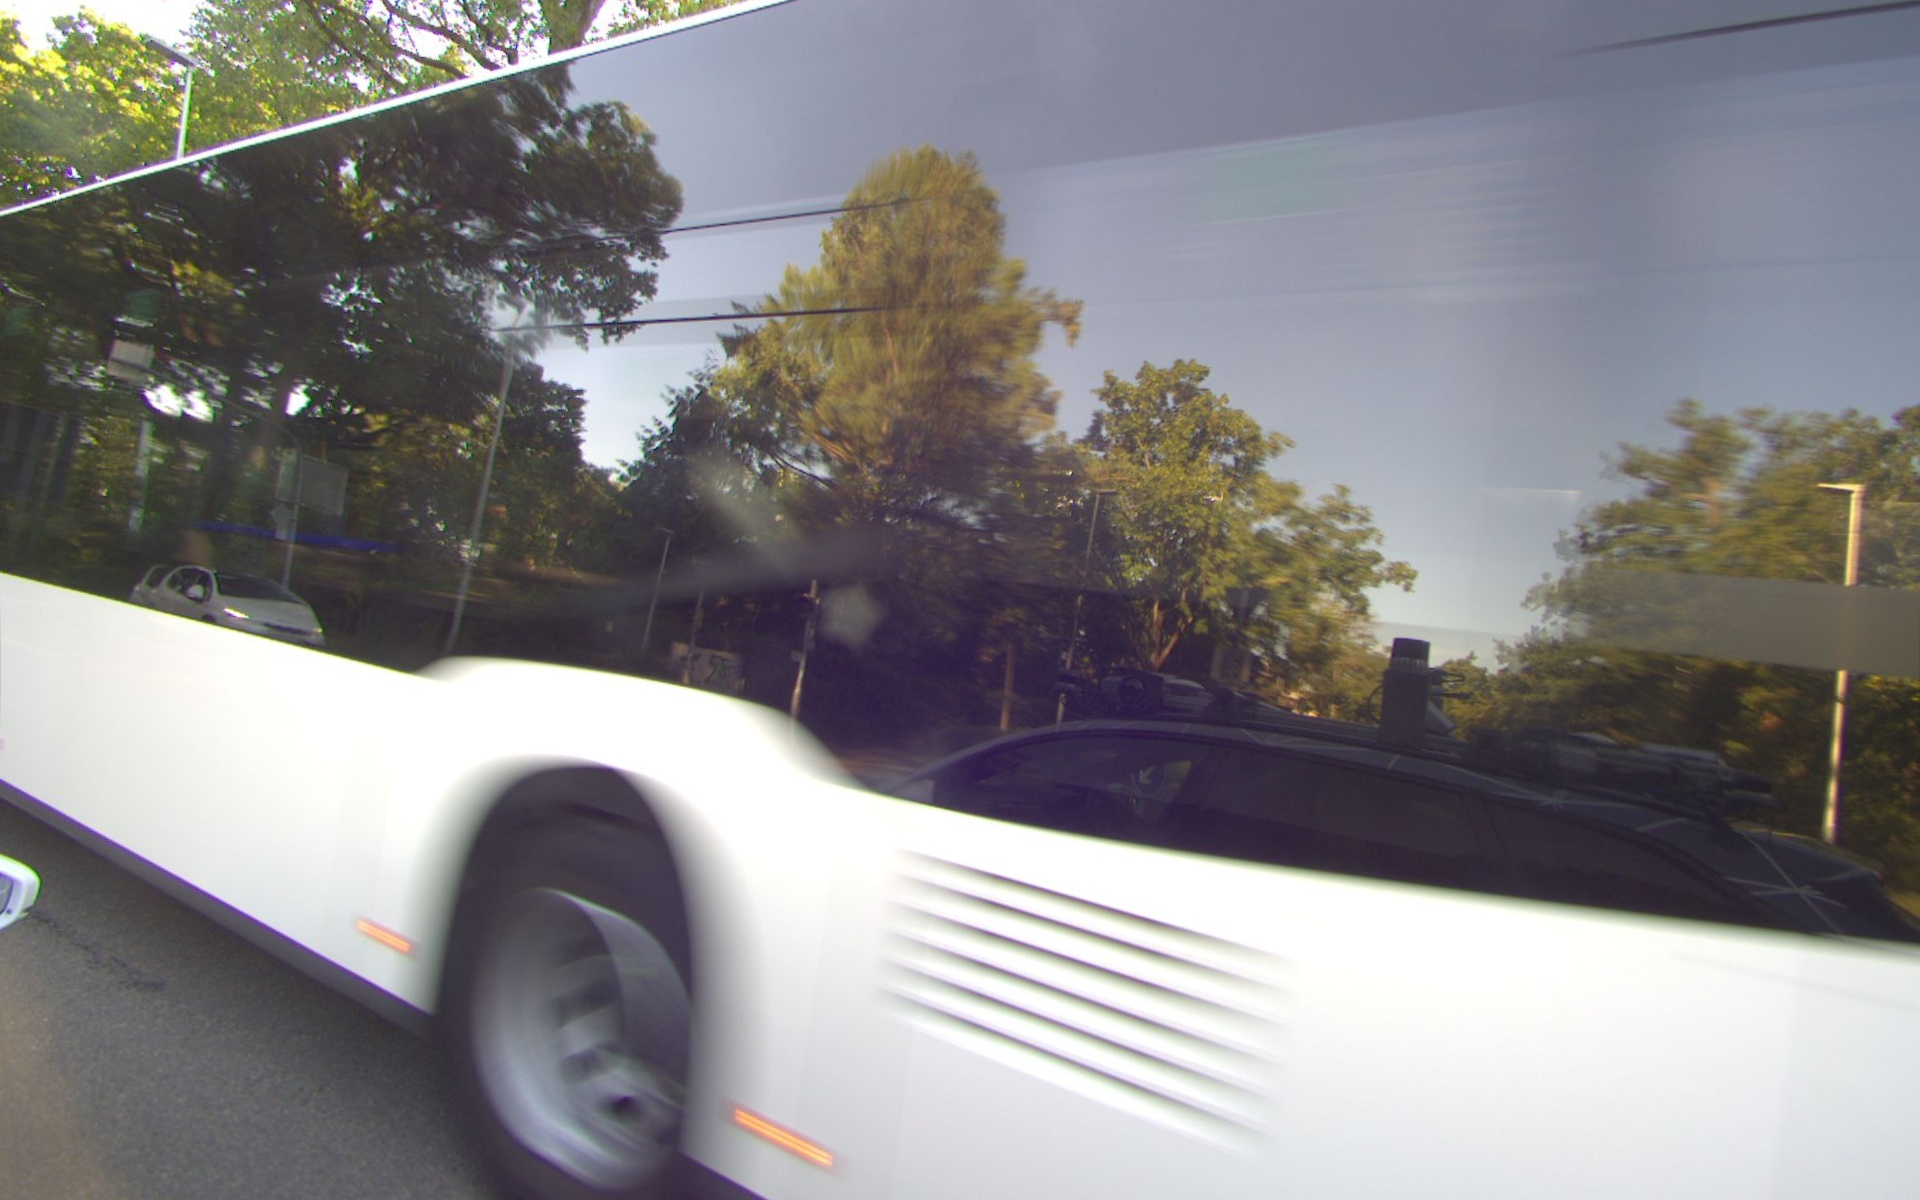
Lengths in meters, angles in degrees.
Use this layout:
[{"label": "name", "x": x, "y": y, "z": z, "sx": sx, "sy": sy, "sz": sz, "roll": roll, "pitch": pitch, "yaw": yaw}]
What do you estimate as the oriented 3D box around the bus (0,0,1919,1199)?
[{"label": "bus", "x": -2.561, "y": -0.429, "z": 4.889, "sx": 12.067, "sy": 3.120, "sz": 3.020, "roll": 6, "pitch": -3, "yaw": 32}]
